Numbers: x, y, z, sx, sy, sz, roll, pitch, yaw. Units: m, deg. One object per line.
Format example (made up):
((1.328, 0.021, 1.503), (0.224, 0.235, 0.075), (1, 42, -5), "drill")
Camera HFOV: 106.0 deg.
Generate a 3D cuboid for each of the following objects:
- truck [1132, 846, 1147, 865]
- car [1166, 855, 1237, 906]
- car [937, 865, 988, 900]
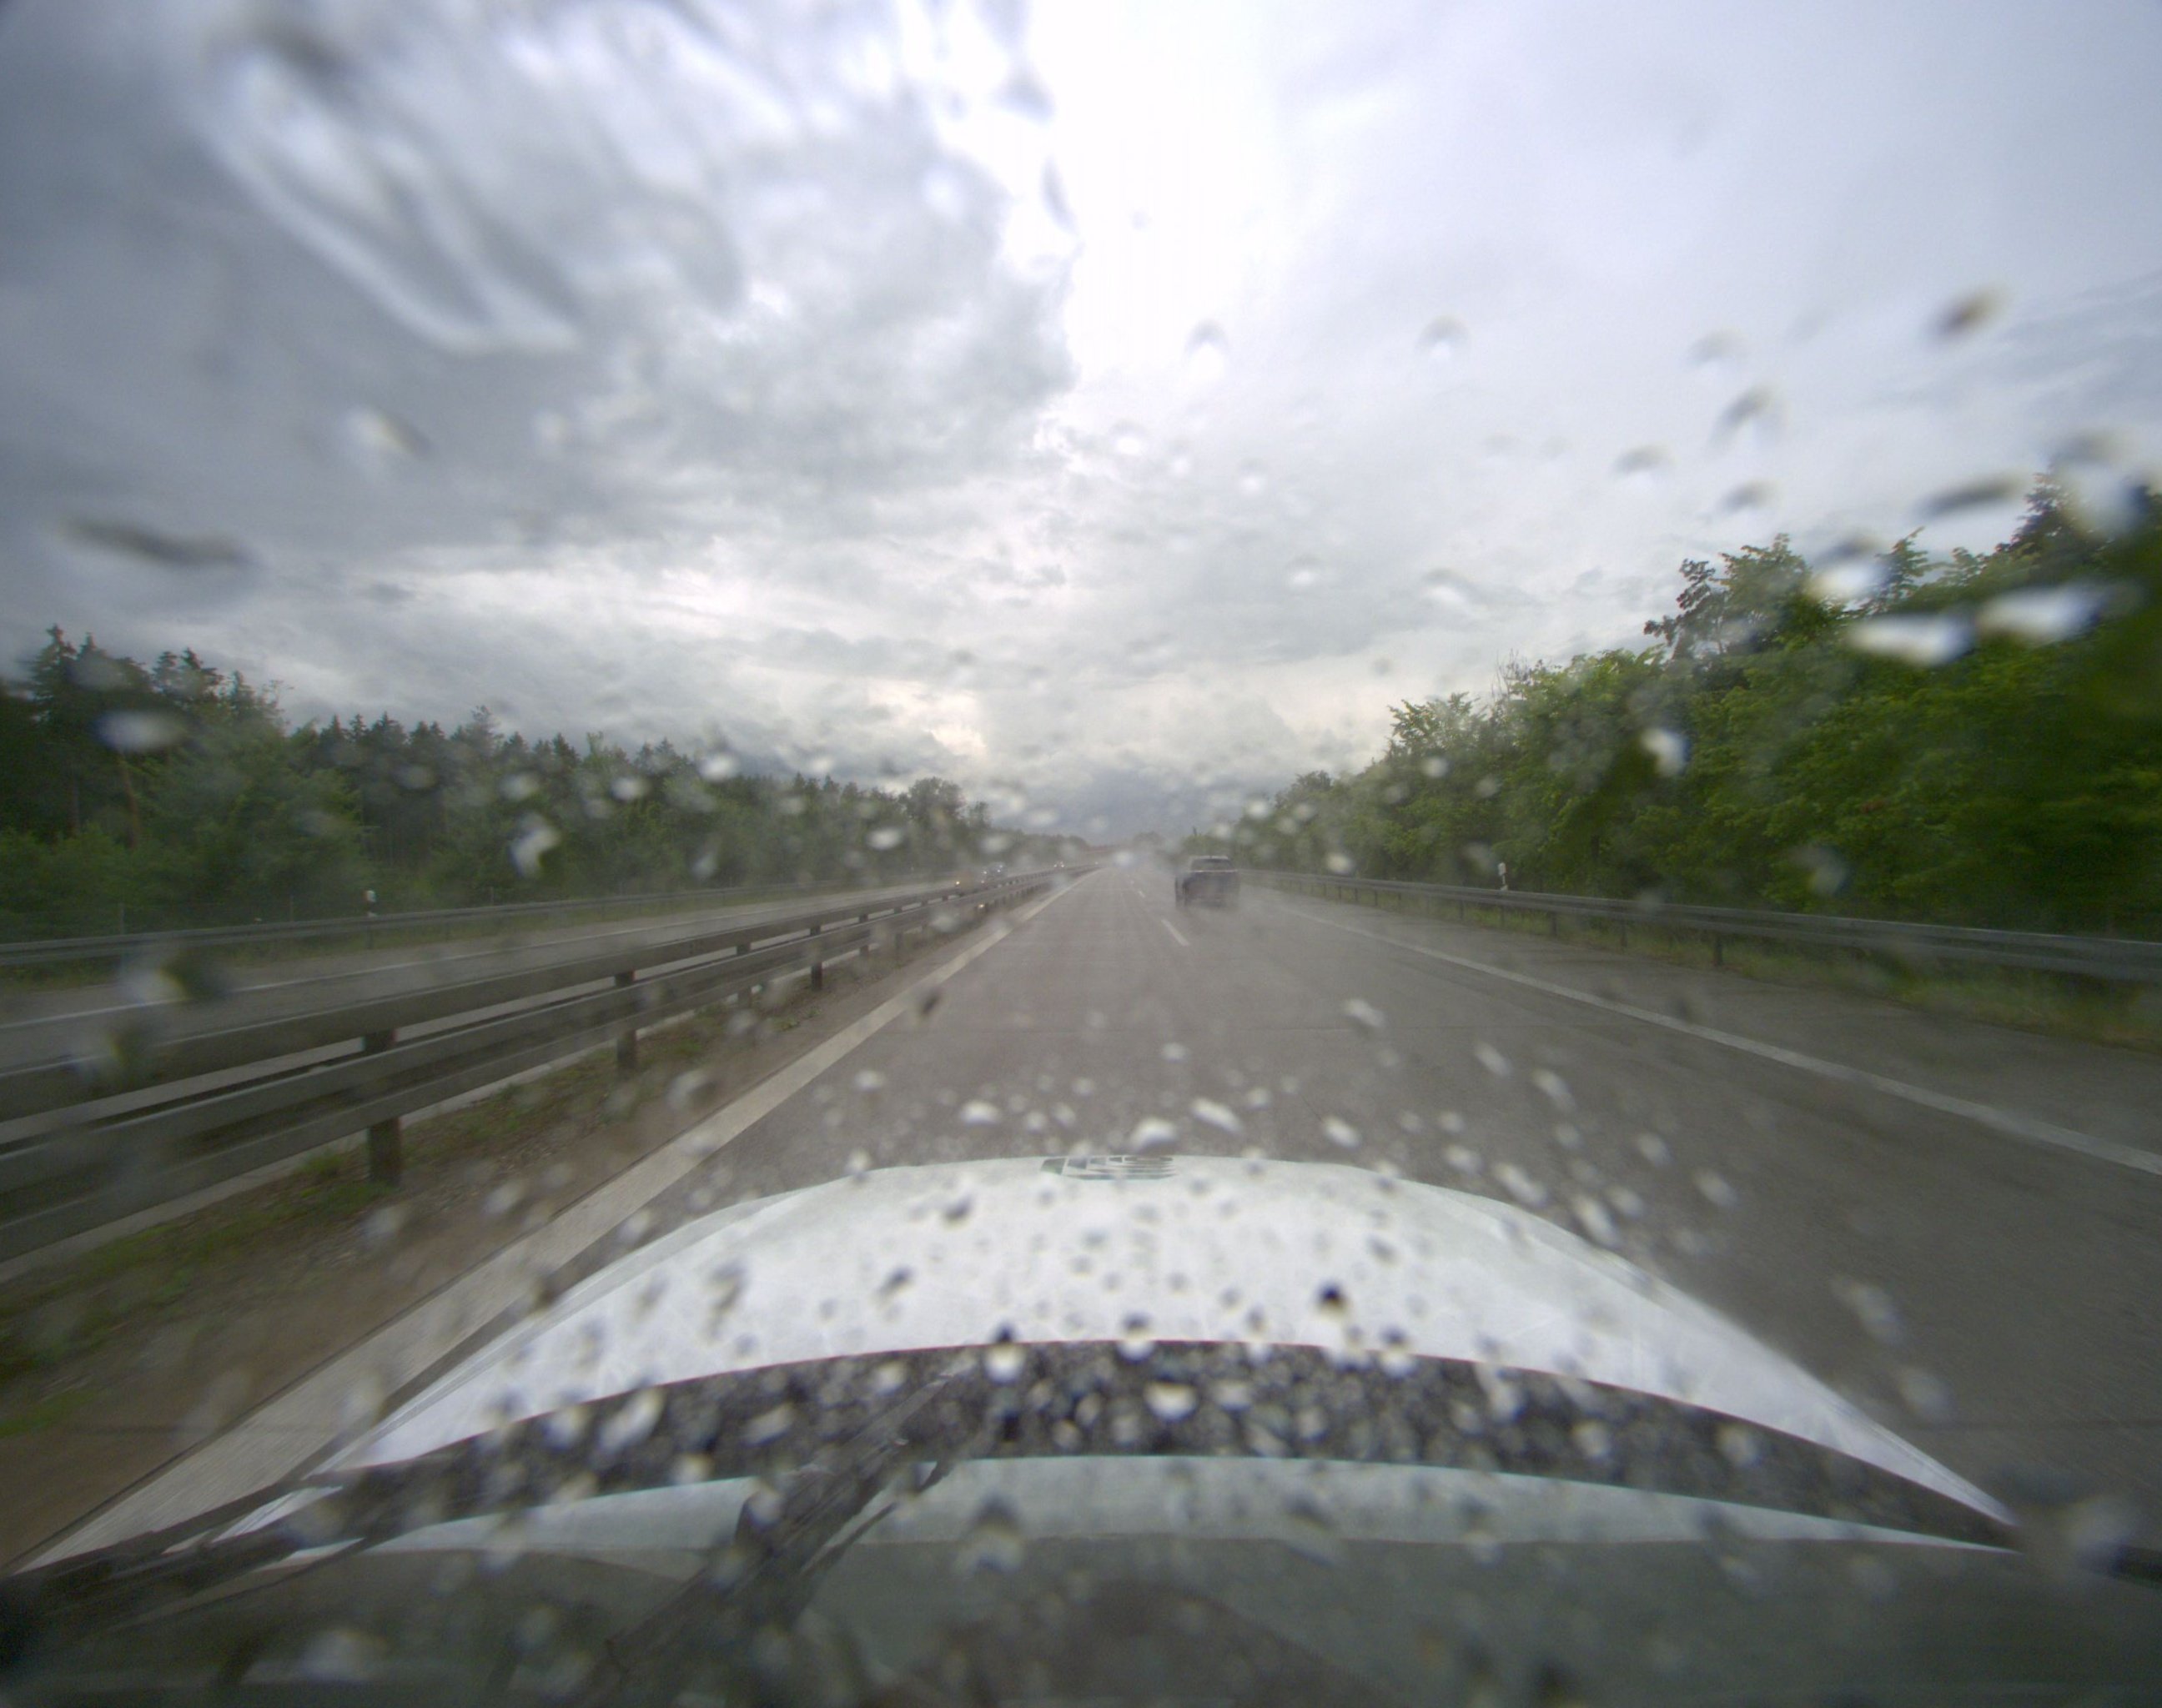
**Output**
((13.993, 0.377, 193.718), (3.228, 4.437, 8.256), (-1, -1, 5), "truck")
((3.951, 0.868, 27.275), (1.888, 1.576, 3.631), (-1, -1, 0), "car")
((-6.306, 1.502, 43.788), (1.986, 1.603, 4.001), (-3, 0, 1), "car")
